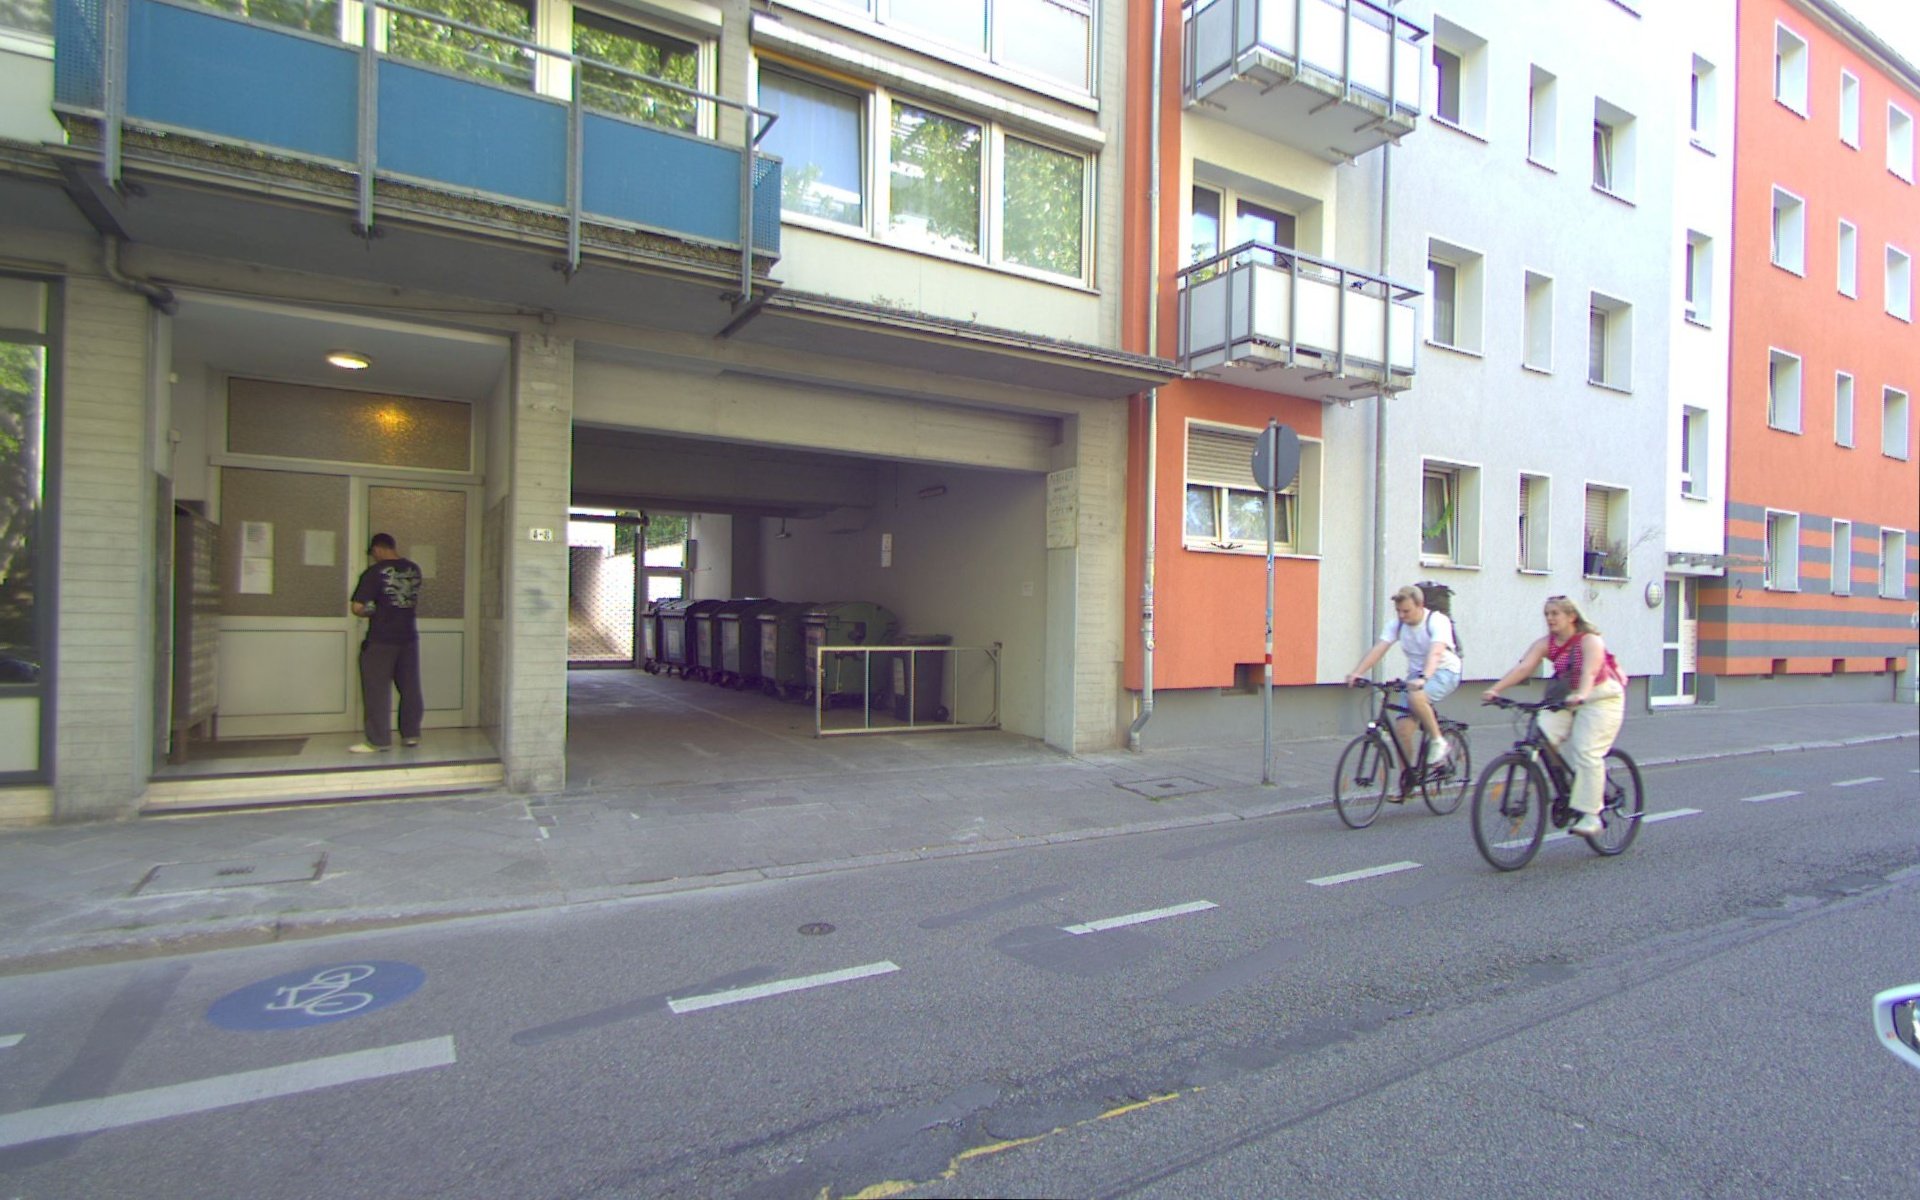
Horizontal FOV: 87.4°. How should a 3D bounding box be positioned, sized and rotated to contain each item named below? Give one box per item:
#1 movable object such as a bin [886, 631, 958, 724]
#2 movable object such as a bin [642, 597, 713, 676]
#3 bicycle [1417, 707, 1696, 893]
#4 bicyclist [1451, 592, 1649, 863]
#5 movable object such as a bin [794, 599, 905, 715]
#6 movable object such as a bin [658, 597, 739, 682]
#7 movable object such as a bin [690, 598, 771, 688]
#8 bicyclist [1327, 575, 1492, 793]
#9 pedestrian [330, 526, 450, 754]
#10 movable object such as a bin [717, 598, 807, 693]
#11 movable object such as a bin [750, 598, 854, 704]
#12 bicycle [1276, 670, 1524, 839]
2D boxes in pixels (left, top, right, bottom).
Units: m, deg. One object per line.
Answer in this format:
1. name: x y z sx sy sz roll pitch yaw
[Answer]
1. movable object such as a bin: -0.474 0.947 12.469 0.687 1.094 0.579 1 0 -30
2. movable object such as a bin: -5.612 0.713 19.961 1.167 1.503 0.819 1 0 -30
3. bicycle: 3.873 1.225 6.491 1.840 0.941 0.691 1 0 -28
4. bicyclist: 3.782 0.761 6.449 0.969 1.599 0.682 1 0 -28
5. movable object such as a bin: -1.530 0.746 13.770 1.086 1.503 1.251 1 0 -30
6. movable object such as a bin: -4.876 0.717 18.692 1.167 1.503 1.215 1 0 -30
7. movable object such as a bin: -4.035 0.728 17.634 1.080 1.503 1.159 1 0 -30
8. bicyclist: 3.497 0.617 7.846 0.829 1.575 0.838 1 0 -30
9. pedestrian: -4.536 0.310 8.027 0.537 1.736 0.662 1 0 3
10. movable object such as a bin: -3.286 0.731 16.645 1.167 1.503 1.073 1 0 -30
11. movable object such as a bin: -2.400 0.738 15.152 1.167 1.503 1.252 1 0 -30
12. bicycle: 3.430 1.129 7.803 1.815 1.093 0.859 1 0 -30
